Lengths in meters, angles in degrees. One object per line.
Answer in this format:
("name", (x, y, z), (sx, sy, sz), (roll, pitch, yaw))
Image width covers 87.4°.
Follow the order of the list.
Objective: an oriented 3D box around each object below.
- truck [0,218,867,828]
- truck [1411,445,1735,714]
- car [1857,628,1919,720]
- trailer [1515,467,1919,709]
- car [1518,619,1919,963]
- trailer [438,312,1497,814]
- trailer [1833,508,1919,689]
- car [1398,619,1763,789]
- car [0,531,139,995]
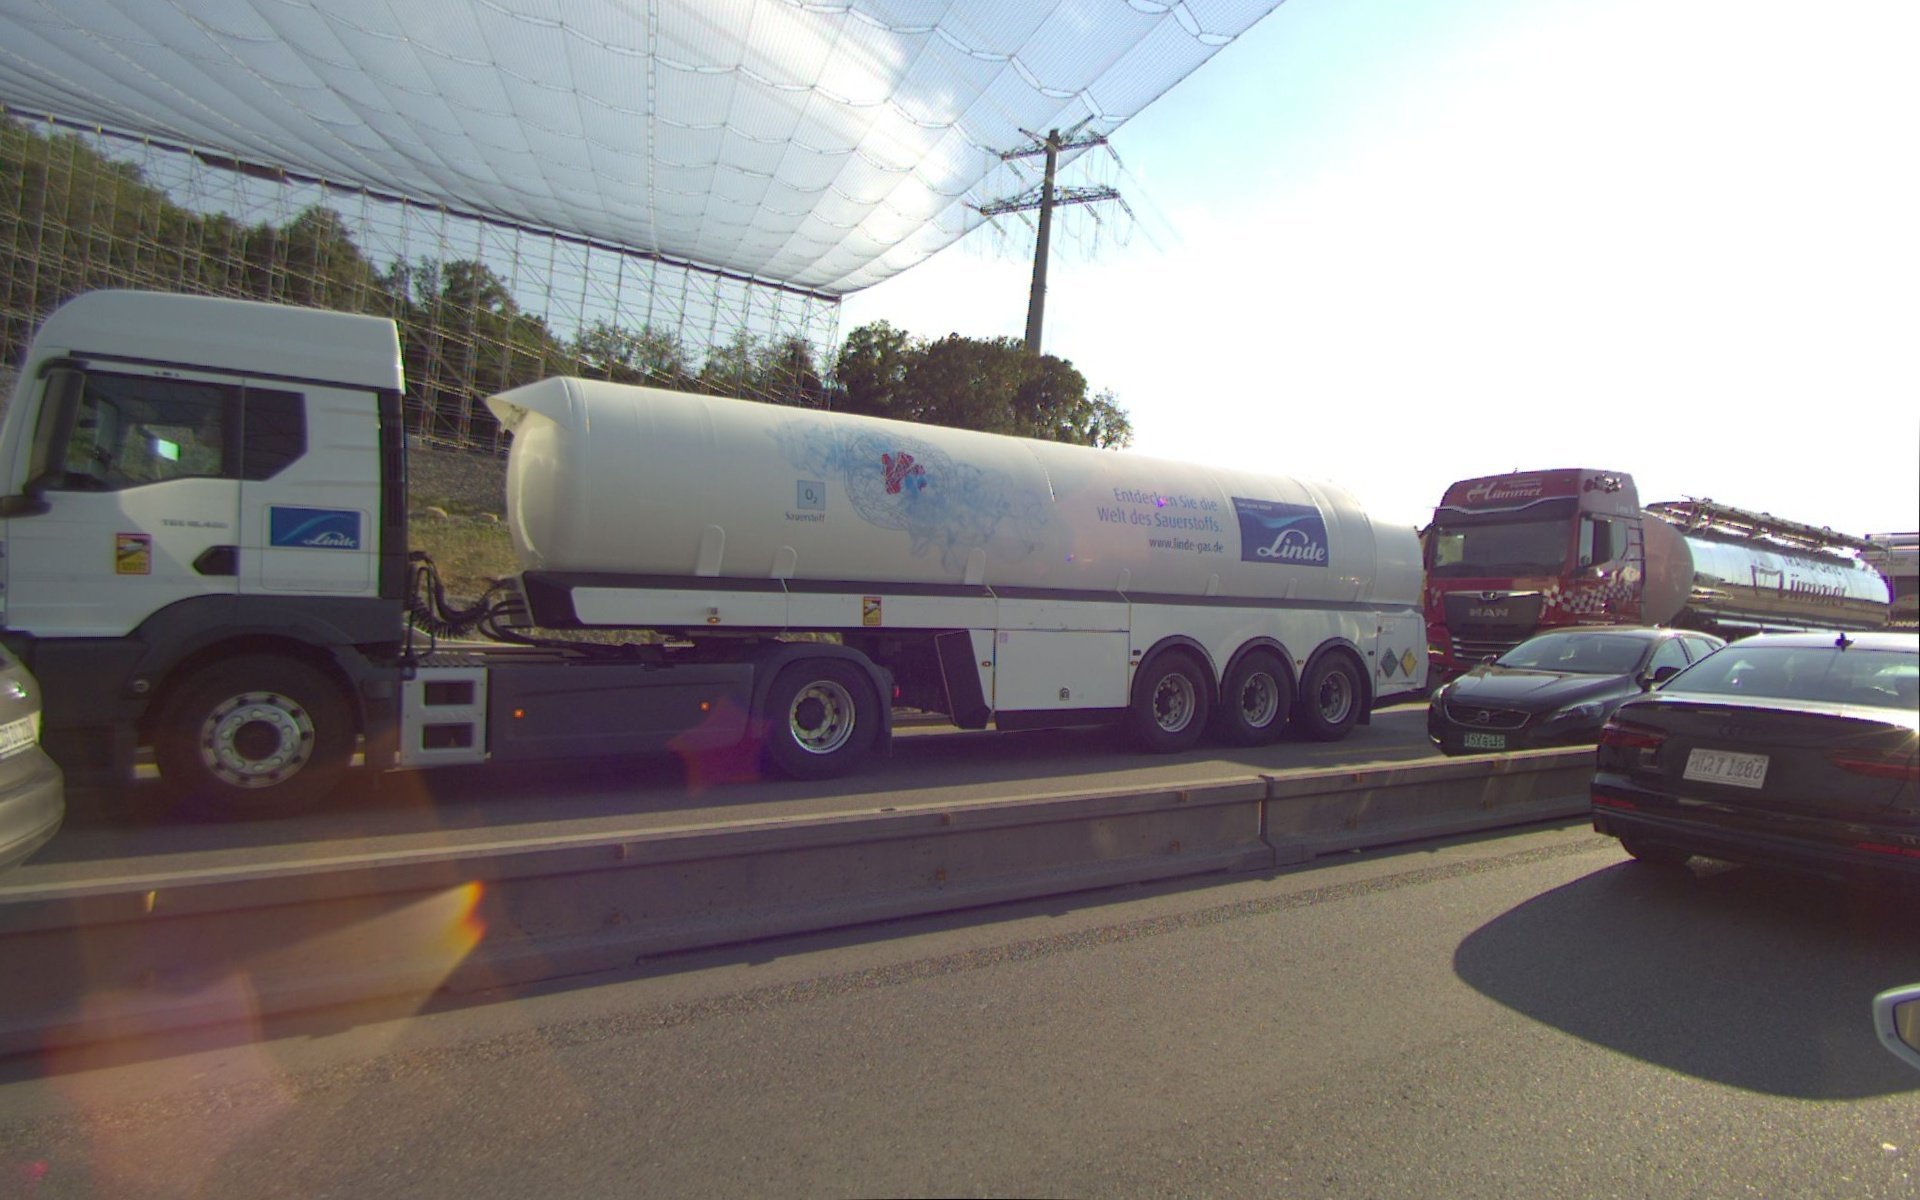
("truck", (-3.805, -0.350, 7.964), (5.552, 3.415, 2.402), (2, 0, -31))
("truck", (10.359, -0.211, 16.850), (5.557, 3.835, 2.418), (2, 0, -33))
("car", (17.297, 1.270, 17.263), (4.607, 1.445, 1.618), (2, -1, -33))
("trailer", (15.596, -0.005, 20.050), (11.917, 3.840, 2.295), (2, -1, -32))
("car", (5.818, 0.892, 6.227), (4.904, 1.417, 1.925), (2, 0, -31))
("trailer", (1.161, -0.062, 10.855), (11.913, 3.406, 2.295), (2, -1, -31))
("trailer", (27.379, 0.140, 27.508), (10.400, 4.386, 2.461), (2, -1, -33))
("car", (6.675, 0.993, 10.657), (4.342, 1.445, 1.617), (2, -1, -34))
("car", (-5.320, 0.499, 3.229), (3.900, 1.608, 1.741), (2, -1, -33))
